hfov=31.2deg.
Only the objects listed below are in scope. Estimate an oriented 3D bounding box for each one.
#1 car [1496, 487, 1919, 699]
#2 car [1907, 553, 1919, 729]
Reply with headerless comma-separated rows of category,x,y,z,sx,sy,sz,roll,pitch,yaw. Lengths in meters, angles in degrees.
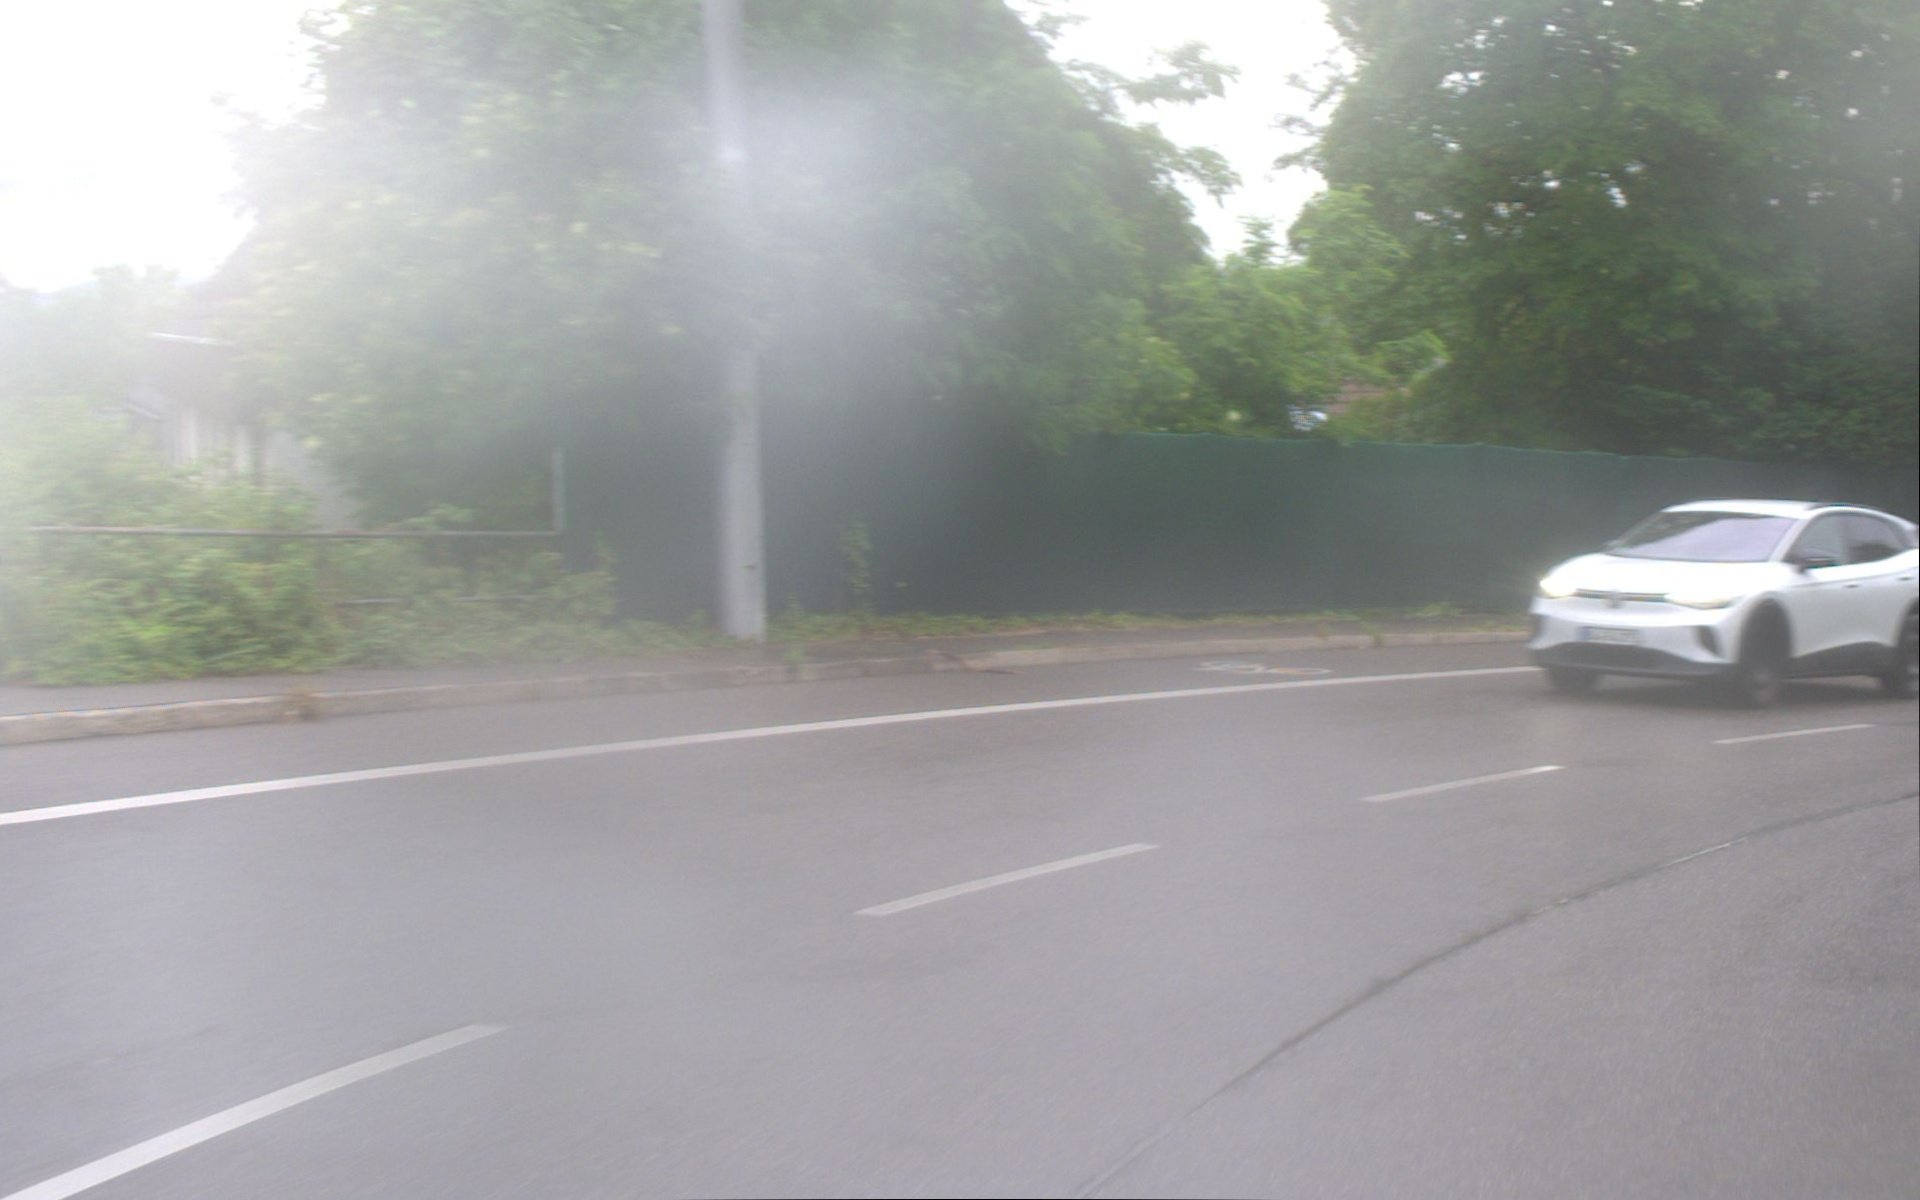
car,6.369,-0.108,28.266,1.830,1.601,4.275,0,2,42
car,9.106,0.079,25.900,1.998,1.887,4.559,5,3,39
